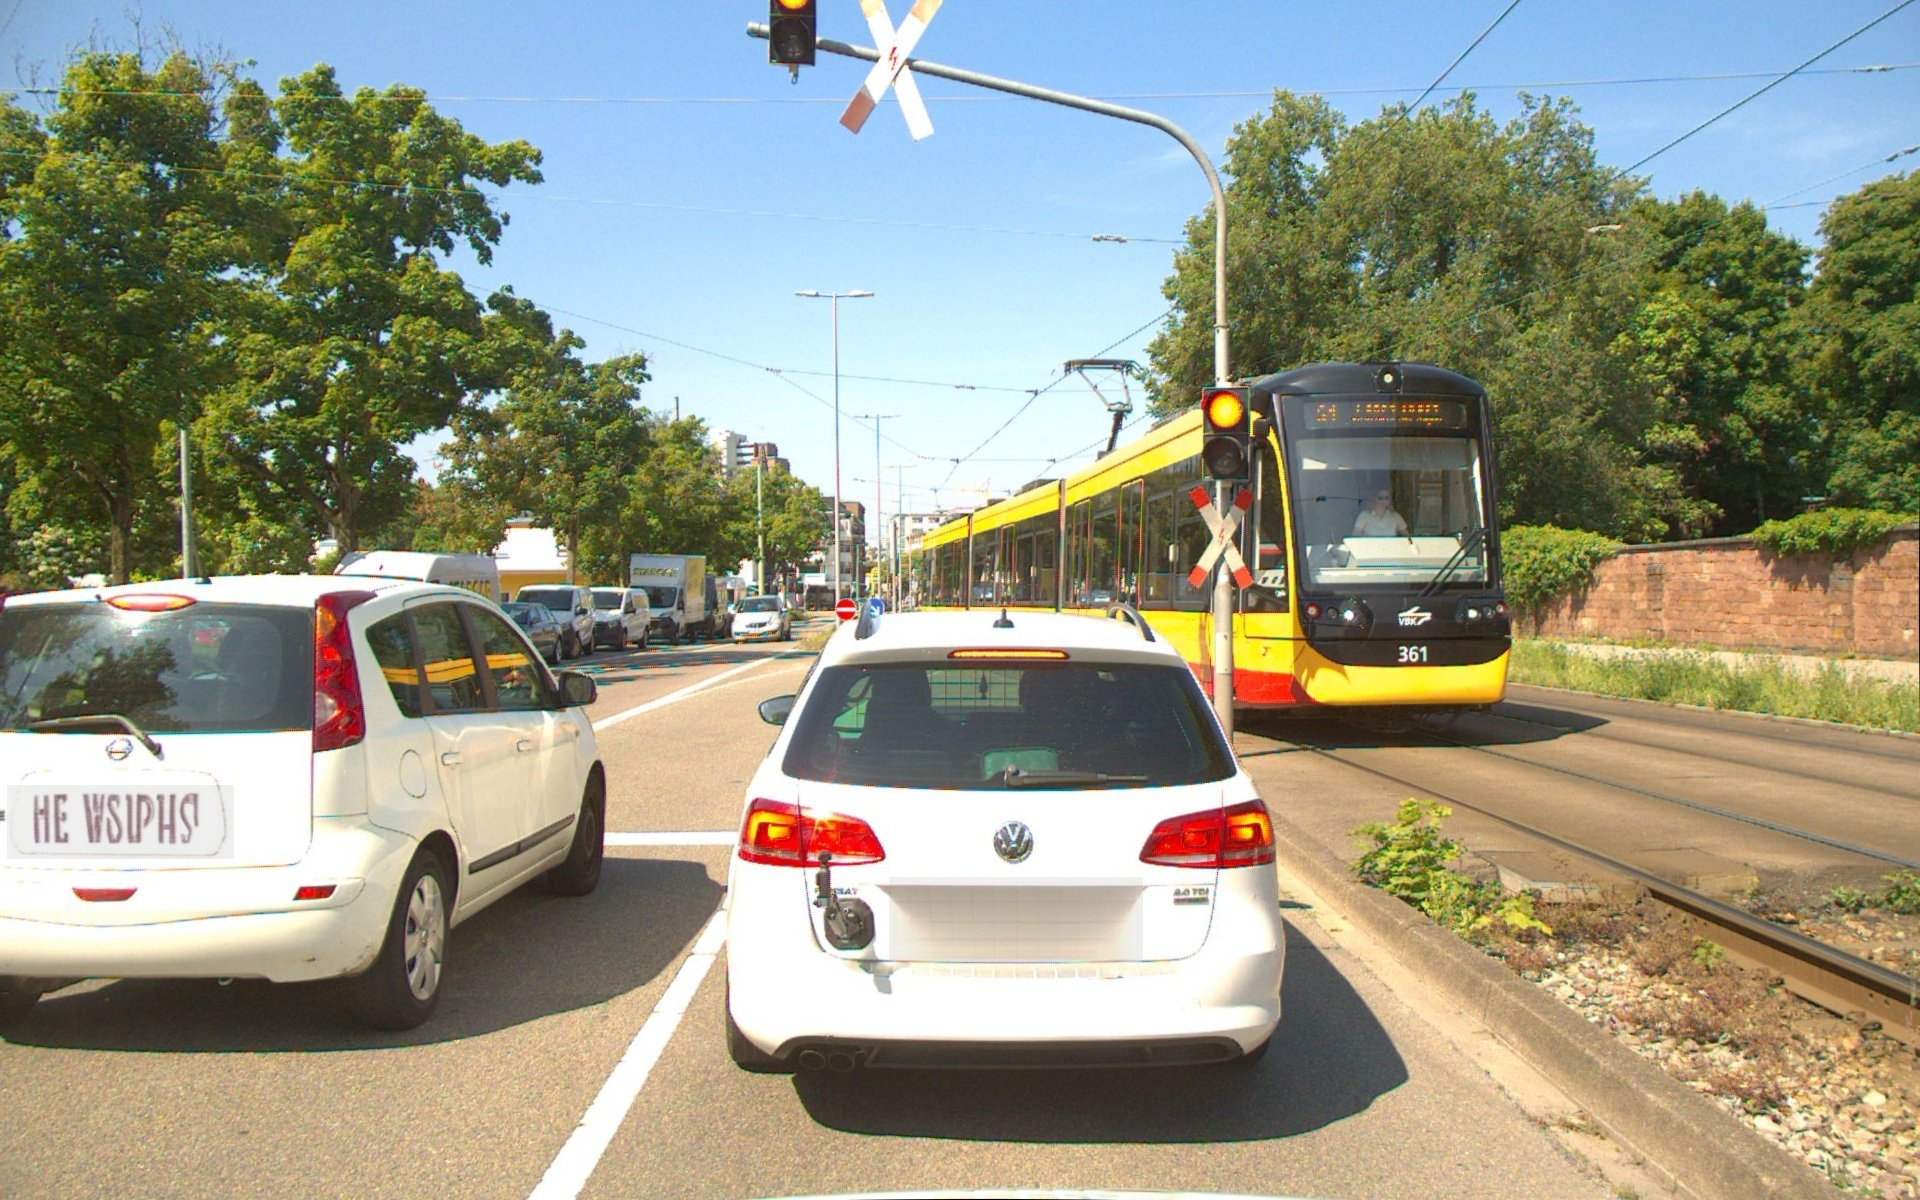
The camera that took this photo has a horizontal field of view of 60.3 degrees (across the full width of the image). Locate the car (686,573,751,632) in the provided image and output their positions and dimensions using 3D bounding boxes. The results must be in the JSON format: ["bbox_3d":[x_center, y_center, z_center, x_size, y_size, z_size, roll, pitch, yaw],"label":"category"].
[{"bbox_3d":[-10.991,0.095,75.585,2.079,2.560,5.733,1,0,0],"label":"car"}]

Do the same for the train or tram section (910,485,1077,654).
[{"bbox_3d":[0.640,-0.736,44.167,2.817,3.923,10.519,-1,0,-8],"label":"train or tram section"}]

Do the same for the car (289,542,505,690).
[{"bbox_3d":[-10.749,0.274,32.130,2.079,2.560,5.817,1,0,1],"label":"car"}]

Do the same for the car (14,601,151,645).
[{"bbox_3d":[-37.817,0.982,71.377,4.698,1.819,2.062,1,0,-5],"label":"car"}]

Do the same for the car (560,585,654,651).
[{"bbox_3d":[-10.970,0.526,51.726,1.826,1.900,5.412,1,0,-1],"label":"car"}]

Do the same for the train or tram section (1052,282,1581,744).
[{"bbox_3d":[3.431,-0.794,20.378,2.814,3.923,12.379,-1,0,-5],"label":"train or tram section"}]

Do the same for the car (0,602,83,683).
[{"bbox_3d":[-21.080,0.962,35.119,3.909,1.638,1.728,-2,0,-5],"label":"car"}]

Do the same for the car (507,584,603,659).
[{"bbox_3d":[-10.981,0.529,45.142,1.828,1.900,5.068,1,0,-6],"label":"car"}]

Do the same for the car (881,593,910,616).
[{"bbox_3d":[-4.366,0.289,112.443,1.670,1.499,4.589,-1,0,0],"label":"car"}]

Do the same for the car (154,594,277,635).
[{"bbox_3d":[-34.376,0.666,76.447,4.698,1.819,2.062,1,0,-5],"label":"car"}]

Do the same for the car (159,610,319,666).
[{"bbox_3d":[-21.280,1.101,48.931,3.909,1.440,1.728,-2,0,-5],"label":"car"}]

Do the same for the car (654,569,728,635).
[{"bbox_3d":[-11.014,0.061,68.148,2.079,2.560,5.733,1,0,0],"label":"car"}]

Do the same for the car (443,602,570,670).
[{"bbox_3d":[-10.510,0.801,38.608,1.826,1.440,4.278,1,0,-1],"label":"car"}]

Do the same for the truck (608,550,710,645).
[{"bbox_3d":[-10.851,-0.113,60.152,2.371,3.205,6.996,1,0,0],"label":"truck"}]

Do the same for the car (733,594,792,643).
[{"bbox_3d":[-6.806,0.612,57.260,1.642,1.580,3.579,-3,0,-1],"label":"car"}]

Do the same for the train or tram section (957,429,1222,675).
[{"bbox_3d":[2.093,-0.807,32.802,2.816,3.923,12.373,-1,0,-7],"label":"train or tram section"}]

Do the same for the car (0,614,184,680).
[{"bbox_3d":[-21.736,1.167,41.243,3.909,1.440,1.728,-2,0,-5],"label":"car"}]

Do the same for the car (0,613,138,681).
[{"bbox_3d":[-21.620,1.115,38.636,3.909,1.440,1.728,-2,0,-5],"label":"car"}]

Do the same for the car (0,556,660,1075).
[{"bbox_3d":[-2.554,0.642,7.292,1.628,1.575,4.546,0,0,0],"label":"car"}]

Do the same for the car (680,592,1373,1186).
[{"bbox_3d":[0.144,0.717,6.183,1.726,1.455,3.999,-1,0,-1],"label":"car"}]

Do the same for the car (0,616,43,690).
[{"bbox_3d":[-20.736,1.122,32.925,3.909,1.440,1.728,-2,0,-5],"label":"car"}]

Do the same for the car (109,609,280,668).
[{"bbox_3d":[-21.292,1.056,46.113,3.909,1.440,1.728,-2,0,-5],"label":"car"}]

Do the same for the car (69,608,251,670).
[{"bbox_3d":[-21.113,1.024,43.785,3.909,1.440,1.728,-2,0,-5],"label":"car"}]
